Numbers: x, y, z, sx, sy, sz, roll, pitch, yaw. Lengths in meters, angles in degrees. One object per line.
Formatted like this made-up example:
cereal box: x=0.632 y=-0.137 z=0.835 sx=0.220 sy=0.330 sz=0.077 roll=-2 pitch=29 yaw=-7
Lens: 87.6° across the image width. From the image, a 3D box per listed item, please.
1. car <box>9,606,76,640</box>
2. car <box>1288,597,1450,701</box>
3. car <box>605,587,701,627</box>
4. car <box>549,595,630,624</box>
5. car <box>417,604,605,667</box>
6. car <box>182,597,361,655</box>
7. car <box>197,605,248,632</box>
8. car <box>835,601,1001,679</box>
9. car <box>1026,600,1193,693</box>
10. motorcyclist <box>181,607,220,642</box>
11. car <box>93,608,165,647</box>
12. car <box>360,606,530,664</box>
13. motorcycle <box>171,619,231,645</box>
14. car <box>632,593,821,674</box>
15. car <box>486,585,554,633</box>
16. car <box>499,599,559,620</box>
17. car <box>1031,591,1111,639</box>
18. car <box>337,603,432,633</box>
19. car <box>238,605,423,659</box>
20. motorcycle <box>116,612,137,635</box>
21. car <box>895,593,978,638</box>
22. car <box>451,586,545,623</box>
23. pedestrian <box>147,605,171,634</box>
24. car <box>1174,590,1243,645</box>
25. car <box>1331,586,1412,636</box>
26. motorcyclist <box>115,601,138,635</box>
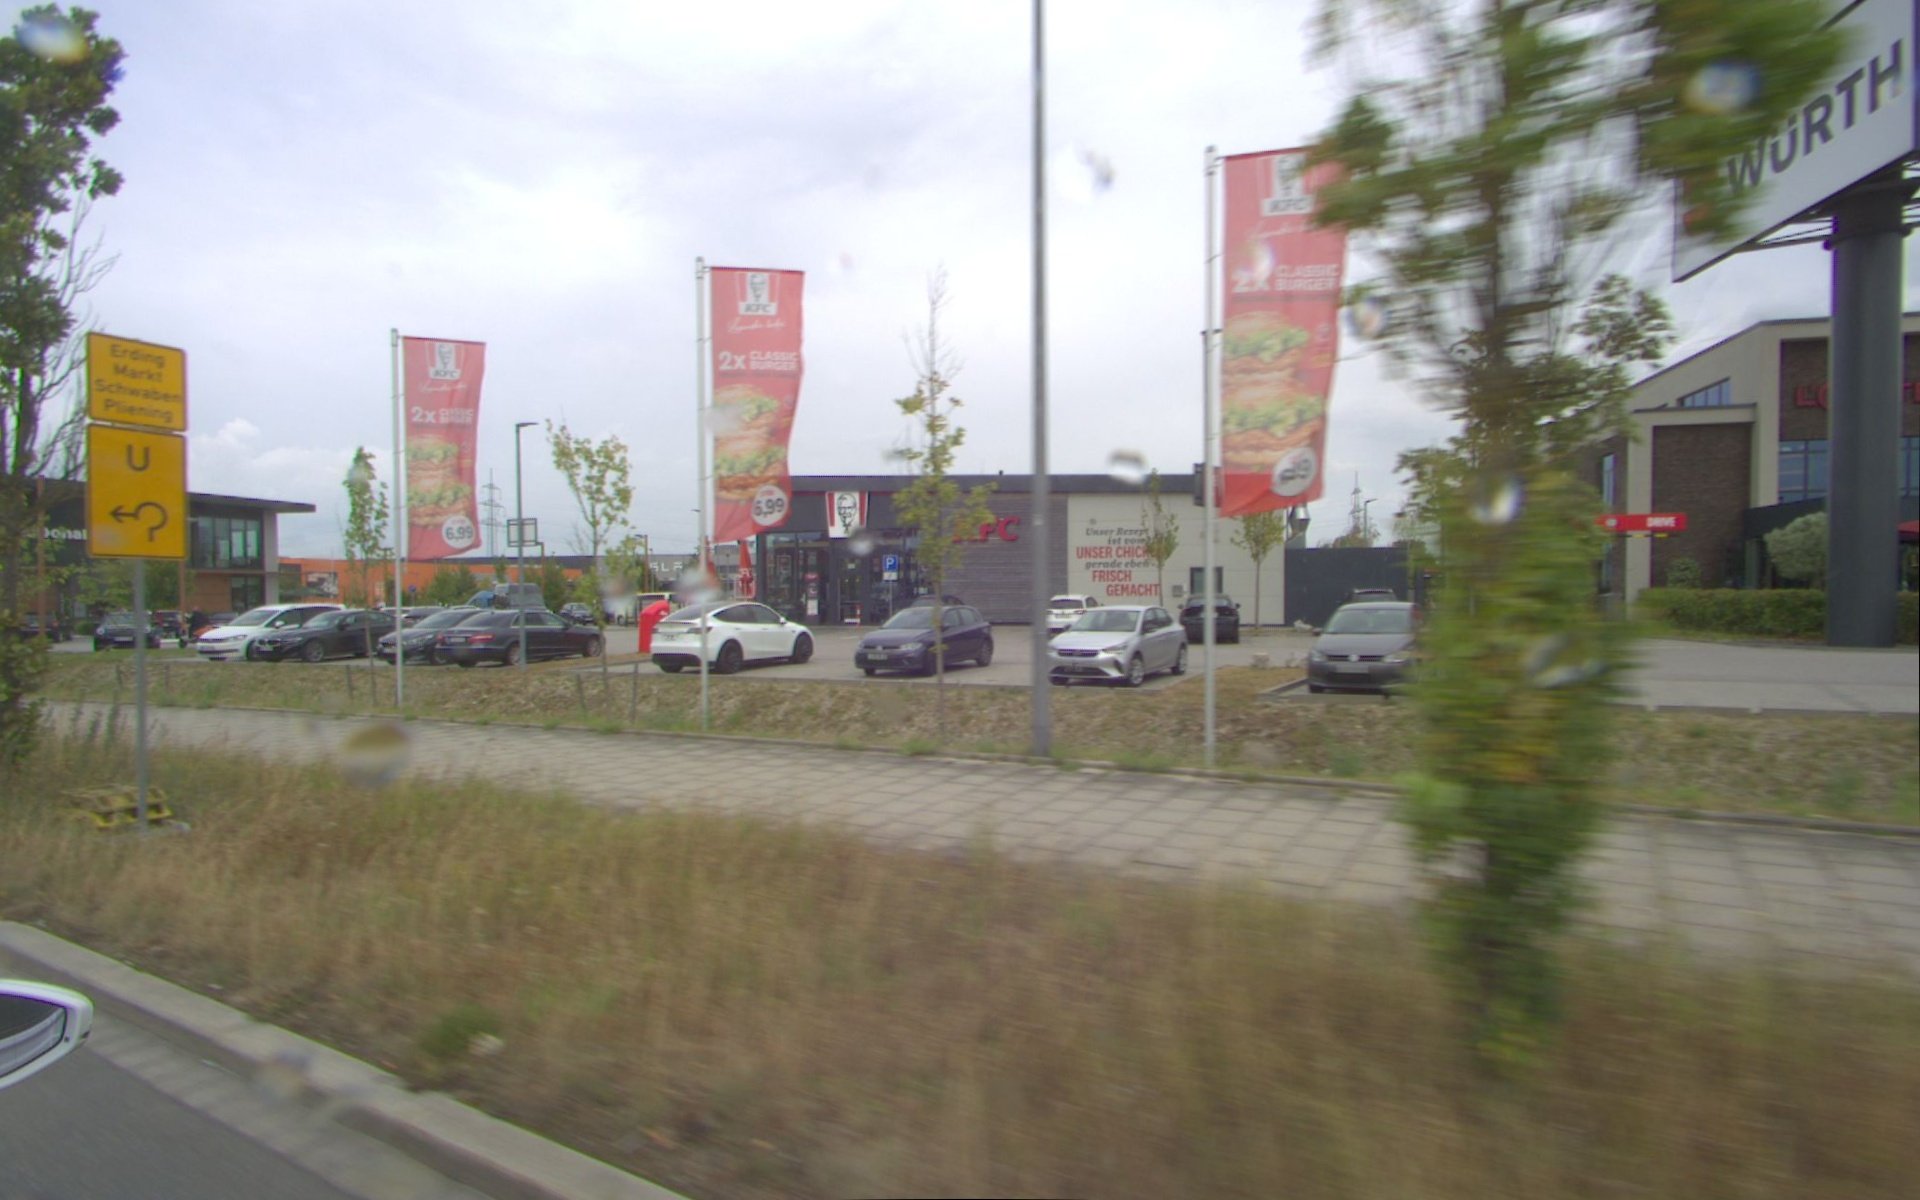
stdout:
car: x=-48.885 y=1.208 z=53.451 sx=2.096 sy=1.739 sz=4.201 roll=0 pitch=0 yaw=-35
car: x=6.893 y=0.719 z=16.675 sx=1.863 sy=1.514 sz=3.749 roll=0 pitch=0 yaw=33
car: x=-19.000 y=0.406 z=61.949 sx=5.603 sy=2.382 sz=2.525 roll=0 pitch=1 yaw=28
car: x=-24.062 y=0.599 z=65.179 sx=4.600 sy=1.840 sz=1.865 roll=-1 pitch=1 yaw=-4
car: x=-11.888 y=0.882 z=26.899 sx=1.997 sy=1.488 sz=4.521 roll=0 pitch=0 yaw=21
car: x=-21.239 y=0.747 z=31.127 sx=1.902 sy=1.661 sz=4.355 roll=0 pitch=0 yaw=15
car: x=-46.067 y=1.152 z=62.519 sx=1.981 sy=1.602 sz=3.959 roll=0 pitch=-1 yaw=-45
car: x=-0.831 y=0.831 z=22.411 sx=1.911 sy=1.504 sz=3.981 roll=-1 pitch=0 yaw=29
car: x=2.990 y=0.808 z=19.381 sx=1.874 sy=1.501 sz=3.853 roll=0 pitch=1 yaw=31
motorcyclist: x=-29.566 y=0.949 z=38.982 sx=0.879 sy=1.352 sz=0.782 roll=-1 pitch=1 yaw=4
car: x=-30.654 y=0.986 z=37.030 sx=1.795 sy=1.330 sz=3.820 roll=-1 pitch=1 yaw=-37
car: x=-14.434 y=0.921 z=28.358 sx=1.908 sy=1.457 sz=4.088 roll=0 pitch=1 yaw=19
motorcycle: x=-29.527 y=1.241 z=38.974 sx=1.788 sy=0.998 sz=0.740 roll=-1 pitch=1 yaw=4
car: x=-5.492 y=0.726 z=24.217 sx=2.055 sy=1.667 sz=4.558 roll=0 pitch=2 yaw=25
car: x=-25.071 y=0.451 z=56.881 sx=2.251 sy=2.535 sz=7.280 roll=-1 pitch=1 yaw=-34
car: x=-38.283 y=0.806 z=89.025 sx=4.675 sy=1.803 sz=1.954 roll=-1 pitch=0 yaw=13
car: x=3.992 y=0.487 z=35.335 sx=2.043 sy=1.539 sz=4.568 roll=-1 pitch=1 yaw=16
car: x=-33.938 y=1.041 z=59.126 sx=4.673 sy=1.678 sz=1.986 roll=-1 pitch=0 yaw=-36
car: x=-18.895 y=0.914 z=30.321 sx=2.036 sy=1.456 sz=4.474 roll=0 pitch=0 yaw=18
motorcycle: x=-46.952 y=1.315 z=56.434 sx=0.849 sy=1.261 sz=1.951 roll=0 pitch=0 yaw=-38
car: x=-0.815 y=0.548 z=37.668 sx=2.010 sy=1.539 sz=4.371 roll=-1 pitch=1 yaw=14
car: x=-32.974 y=0.291 z=71.570 sx=5.954 sy=2.562 sz=2.271 roll=-1 pitch=1 yaw=-27
pedestrian: x=-40.386 y=0.987 z=50.490 sx=0.757 sy=1.458 sz=0.622 roll=-1 pitch=1 yaw=-17
car: x=7.866 y=0.501 z=31.670 sx=1.941 sy=1.539 sz=4.570 roll=-1 pitch=1 yaw=14
car: x=13.665 y=0.320 z=33.473 sx=1.862 sy=1.539 sz=4.570 roll=-1 pitch=1 yaw=14
motorcyclist: x=-46.968 y=1.008 z=56.436 sx=0.953 sy=1.856 sz=0.838 roll=0 pitch=0 yaw=-38
